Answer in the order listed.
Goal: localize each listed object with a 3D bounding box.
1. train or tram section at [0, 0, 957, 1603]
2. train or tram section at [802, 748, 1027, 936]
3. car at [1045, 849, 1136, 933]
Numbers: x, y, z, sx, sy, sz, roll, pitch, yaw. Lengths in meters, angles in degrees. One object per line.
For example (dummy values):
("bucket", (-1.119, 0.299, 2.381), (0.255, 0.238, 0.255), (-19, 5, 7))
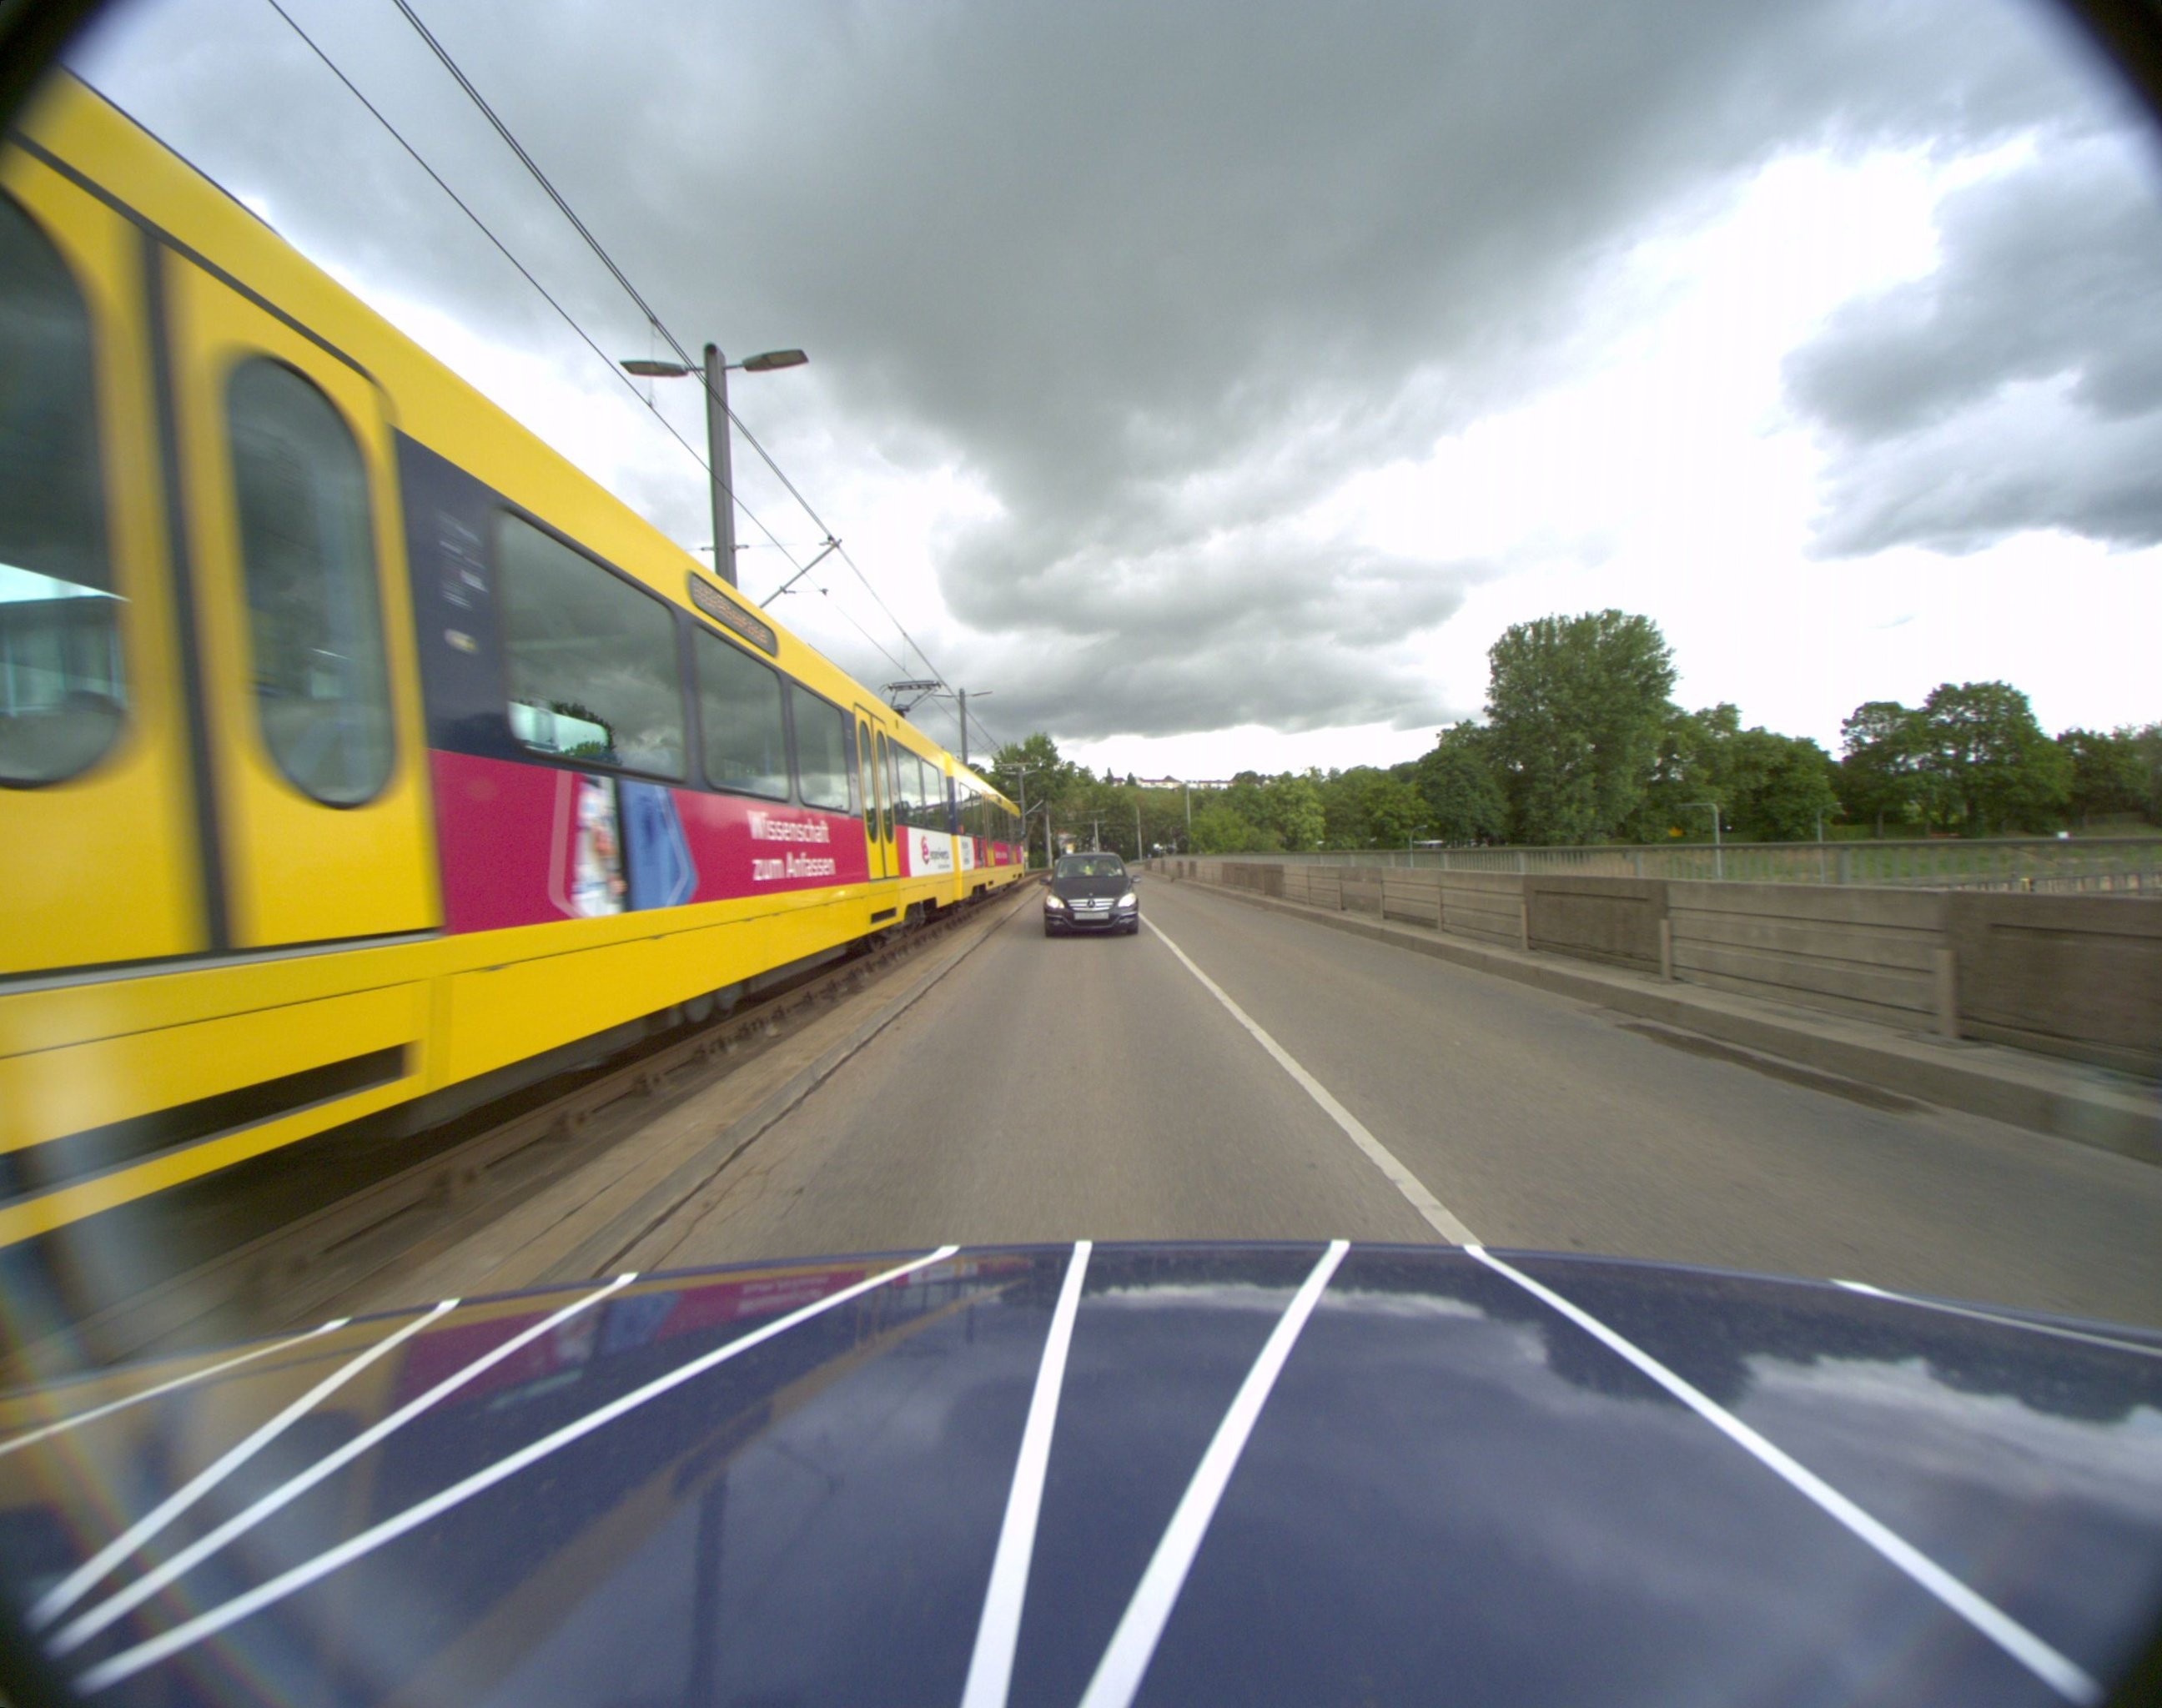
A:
("train or tram section", (-3.763, -0.188, 4.975), (2.837, 3.560, 18.663), (-1, 1, 0))
("train or tram section", (-3.768, -0.302, 23.580), (2.890, 3.489, 18.663), (-1, 1, 0))
("car", (0.183, 0.698, 16.948), (1.711, 1.574, 4.441), (-1, 1, 0))
